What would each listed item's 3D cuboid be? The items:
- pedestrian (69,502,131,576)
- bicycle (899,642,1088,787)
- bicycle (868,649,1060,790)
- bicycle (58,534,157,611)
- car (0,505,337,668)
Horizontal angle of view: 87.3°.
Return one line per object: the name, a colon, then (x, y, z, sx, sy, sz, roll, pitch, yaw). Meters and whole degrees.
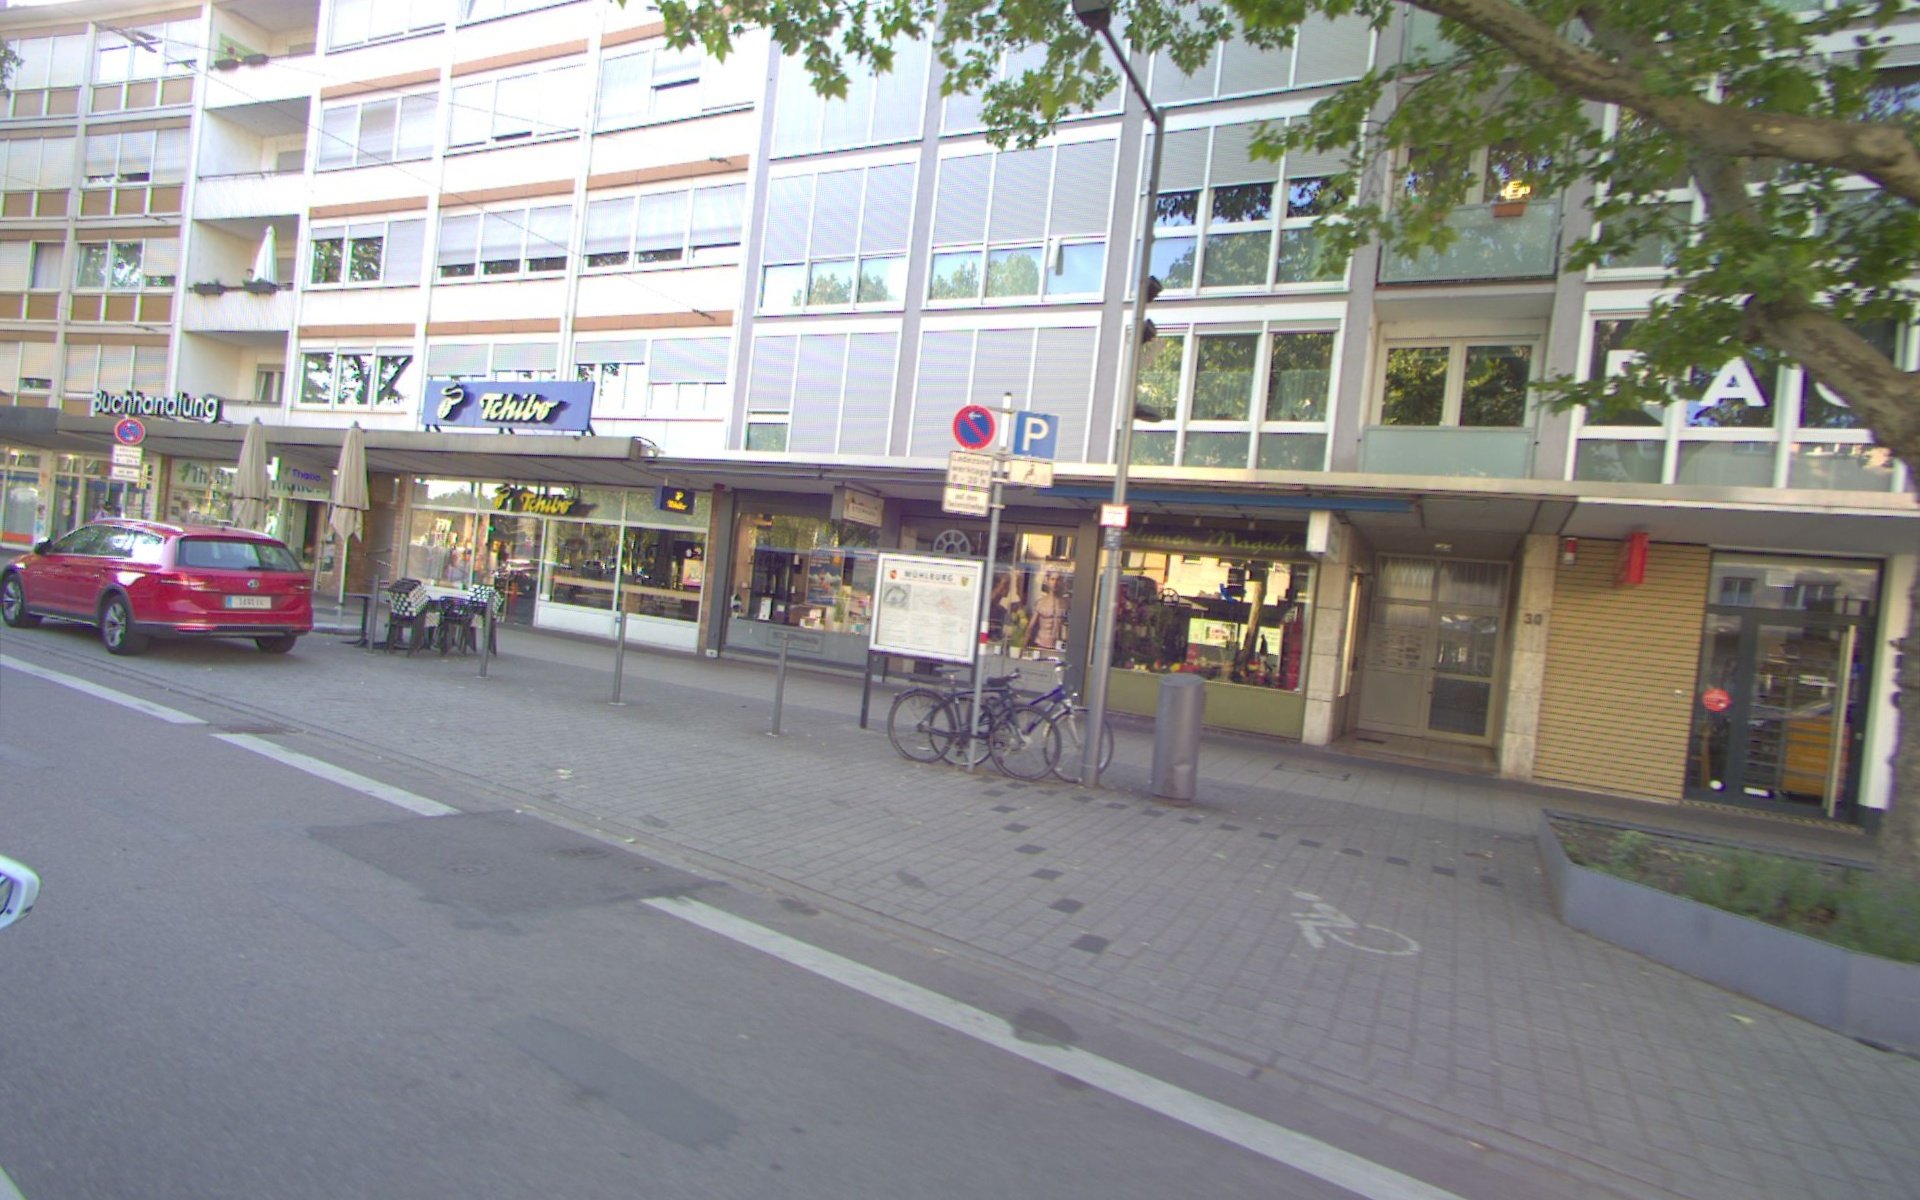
pedestrian: (-19.747, -1.391, 23.106, 0.792, 1.571, 0.641, 6, 0, 18)
bicycle: (0.306, 1.062, 9.541, 1.686, 1.116, 0.294, 6, 4, 18)
bicycle: (0.021, 1.086, 9.335, 1.686, 1.055, 0.294, 6, 4, 18)
bicycle: (-13.993, -0.452, 16.511, 1.631, 1.084, 0.512, 6, 2, 23)
car: (-9.975, -0.217, 12.453, 4.488, 1.516, 1.780, 6, 2, 28)
